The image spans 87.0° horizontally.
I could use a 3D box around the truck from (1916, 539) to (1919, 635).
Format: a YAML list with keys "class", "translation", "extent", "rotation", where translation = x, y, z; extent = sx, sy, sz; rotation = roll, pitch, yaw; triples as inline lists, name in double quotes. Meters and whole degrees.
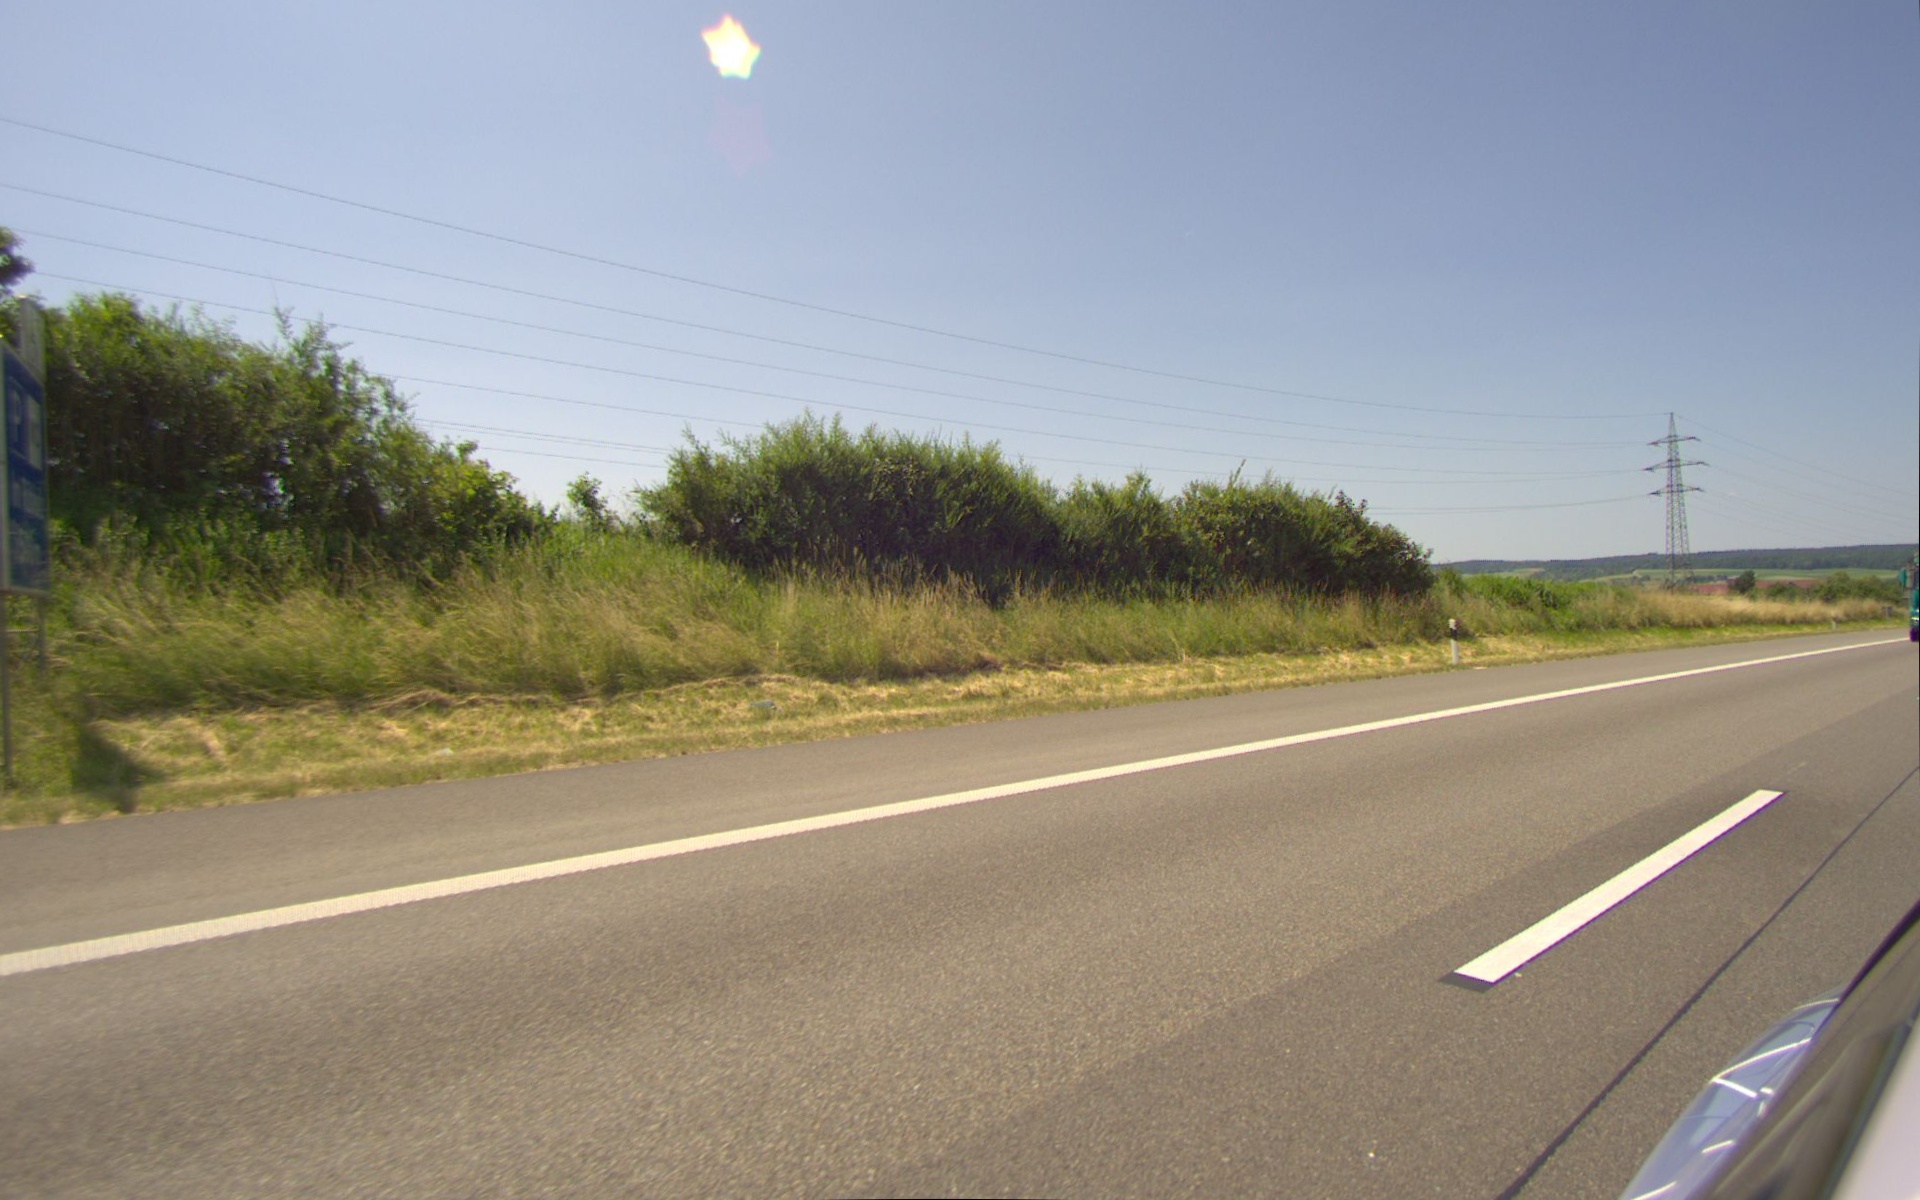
- class: "truck"
  translation: [43.547, -0.478, 42.880]
  extent: [12.533, 3.771, 2.871]
  rotation: [0, 0, -39]
